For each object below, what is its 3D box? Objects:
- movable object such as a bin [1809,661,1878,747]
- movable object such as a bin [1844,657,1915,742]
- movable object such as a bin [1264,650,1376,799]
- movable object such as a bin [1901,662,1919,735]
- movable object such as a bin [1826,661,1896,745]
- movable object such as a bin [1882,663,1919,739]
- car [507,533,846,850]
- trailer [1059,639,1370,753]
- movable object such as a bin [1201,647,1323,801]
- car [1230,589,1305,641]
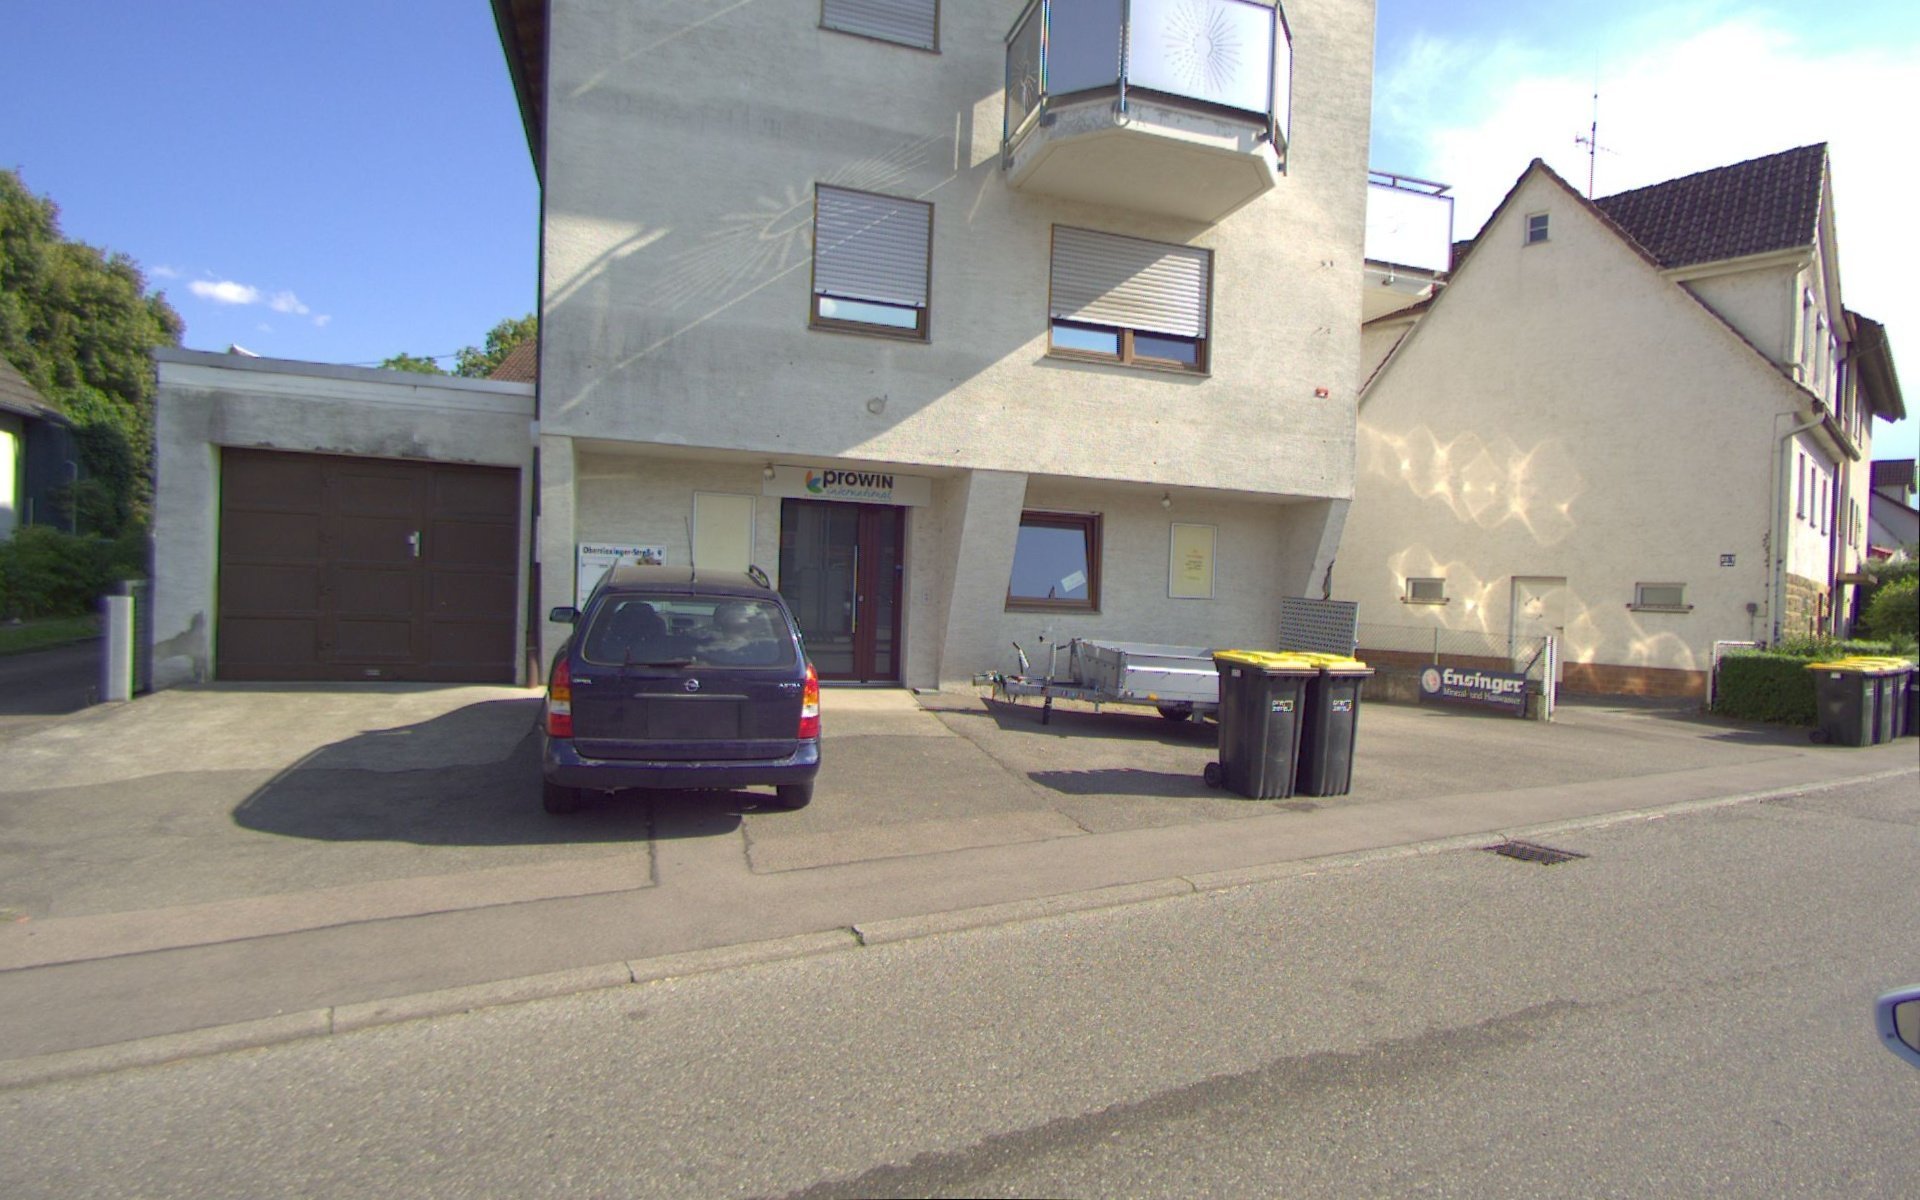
[{"bbox_3d":[11.933,1.392,13.572,0.502,1.098,0.585,1,-1,-30],"label":"movable object such as a bin"},{"bbox_3d":[12.977,1.387,14.182,0.610,1.137,0.585,1,-1,-30],"label":"movable object such as a bin"},{"bbox_3d":[2.891,0.975,8.082,0.551,1.085,0.567,2,3,-30],"label":"movable object such as a bin"},{"bbox_3d":[14.034,1.430,14.516,0.452,1.036,0.529,1,-1,-30],"label":"movable object such as a bin"},{"bbox_3d":[12.440,1.405,13.872,0.523,1.098,0.585,1,-1,-30],"label":"movable object such as a bin"},{"bbox_3d":[13.563,1.429,14.301,0.452,1.036,0.529,1,-1,-30],"label":"movable object such as a bin"},{"bbox_3d":[-2.096,0.383,7.354,1.735,1.559,3.983,2,5,-18],"label":"car"},{"bbox_3d":[2.626,0.994,10.573,2.842,0.866,1.330,4,1,-13],"label":"trailer"},{"bbox_3d":[2.348,0.939,7.827,0.611,1.085,0.596,2,3,-30],"label":"movable object such as a bin"},{"bbox_3d":[9.054,0.434,29.449,1.403,1.380,3.473,2,0,28],"label":"car"}]
